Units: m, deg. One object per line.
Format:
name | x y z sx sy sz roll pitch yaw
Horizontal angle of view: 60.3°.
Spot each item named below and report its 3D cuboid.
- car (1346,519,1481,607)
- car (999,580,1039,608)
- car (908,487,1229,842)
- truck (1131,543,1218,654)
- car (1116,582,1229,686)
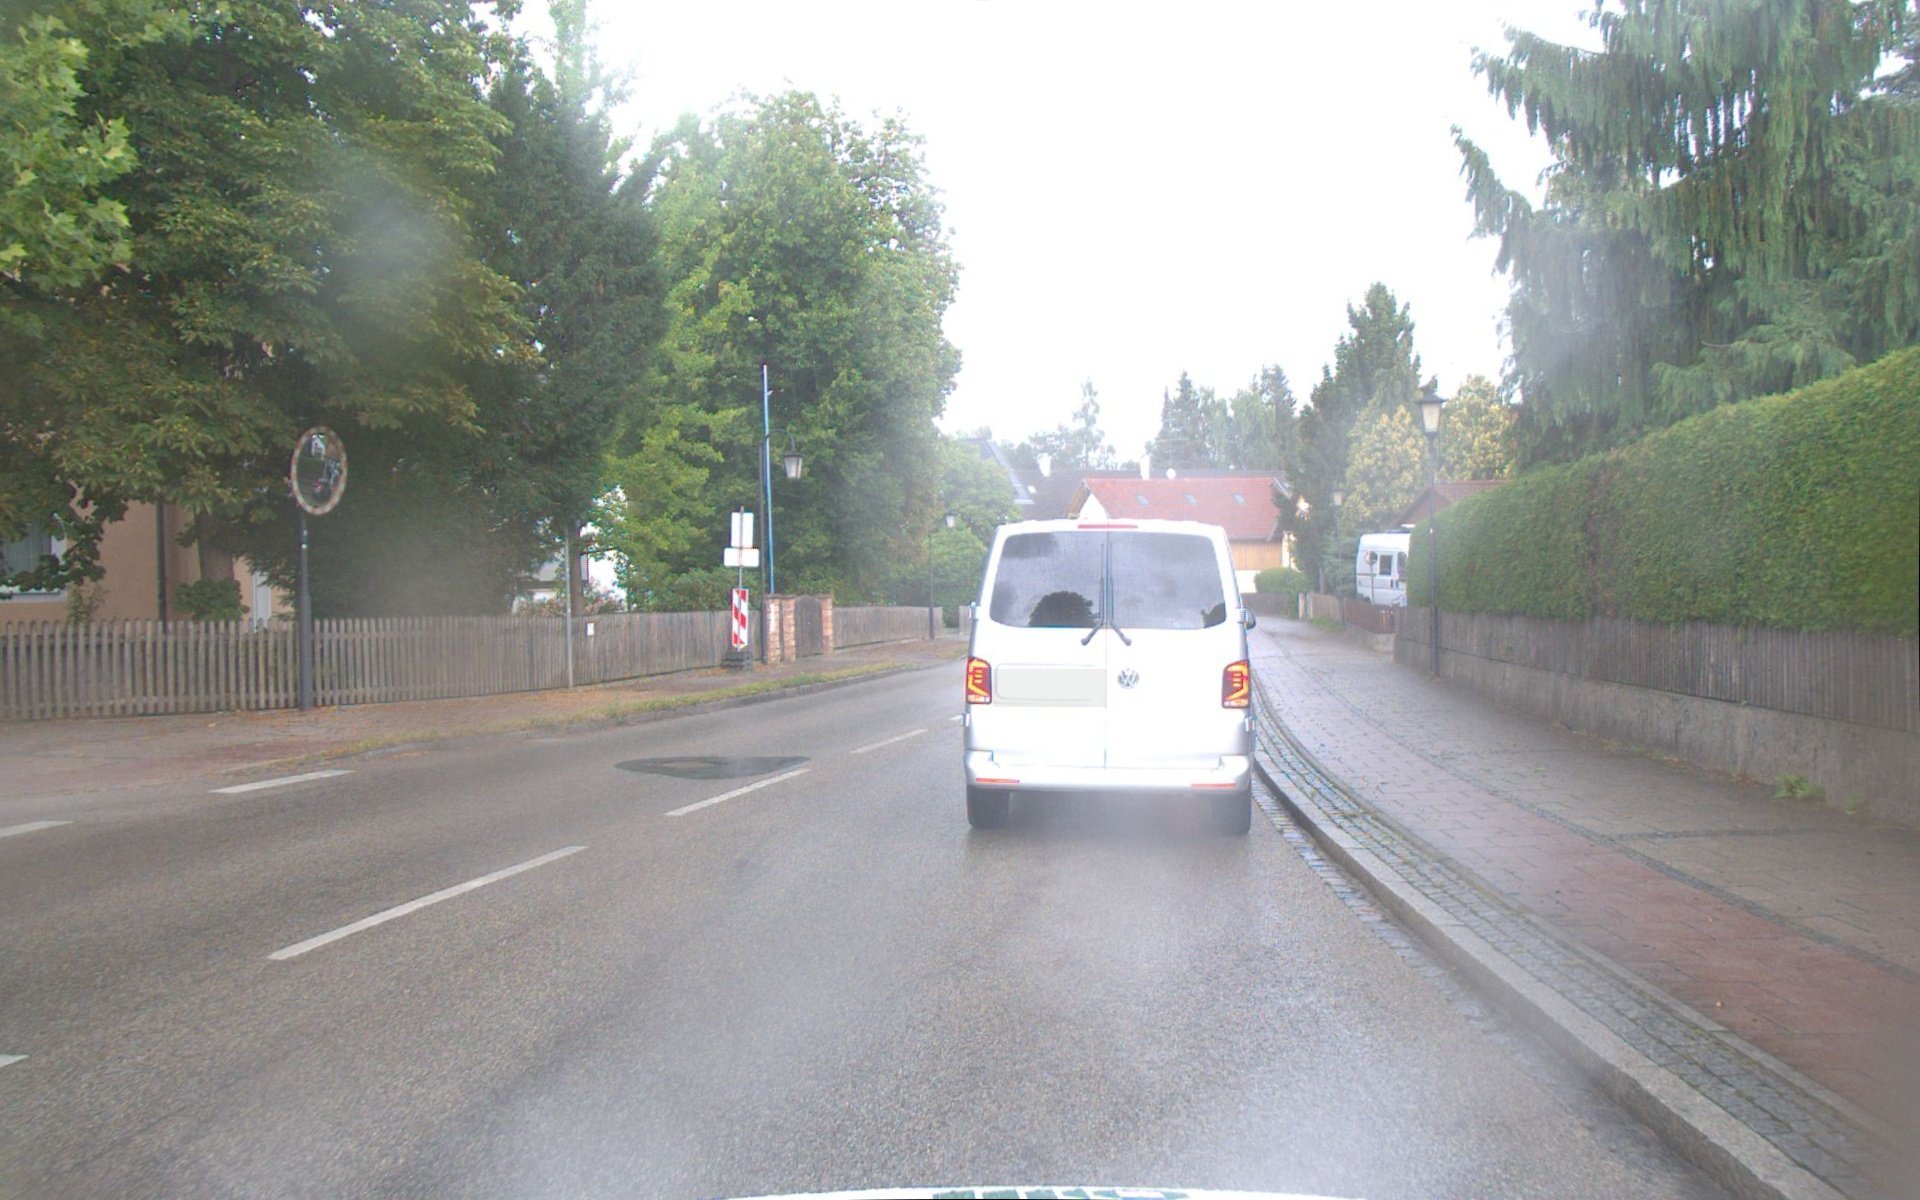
car | 12.172 -0.927 44.763 1.954 2.211 4.948 1 0 -5
car | 4.337 -0.419 121.760 1.959 2.049 3.987 1 0 -13
car | 0.943 0.378 11.683 1.762 2.049 4.003 1 0 11
truck | 6.549 -0.029 50.307 2.423 3.128 6.301 1 0 8
car | 3.644 0.558 28.178 1.762 1.616 4.003 1 0 8
